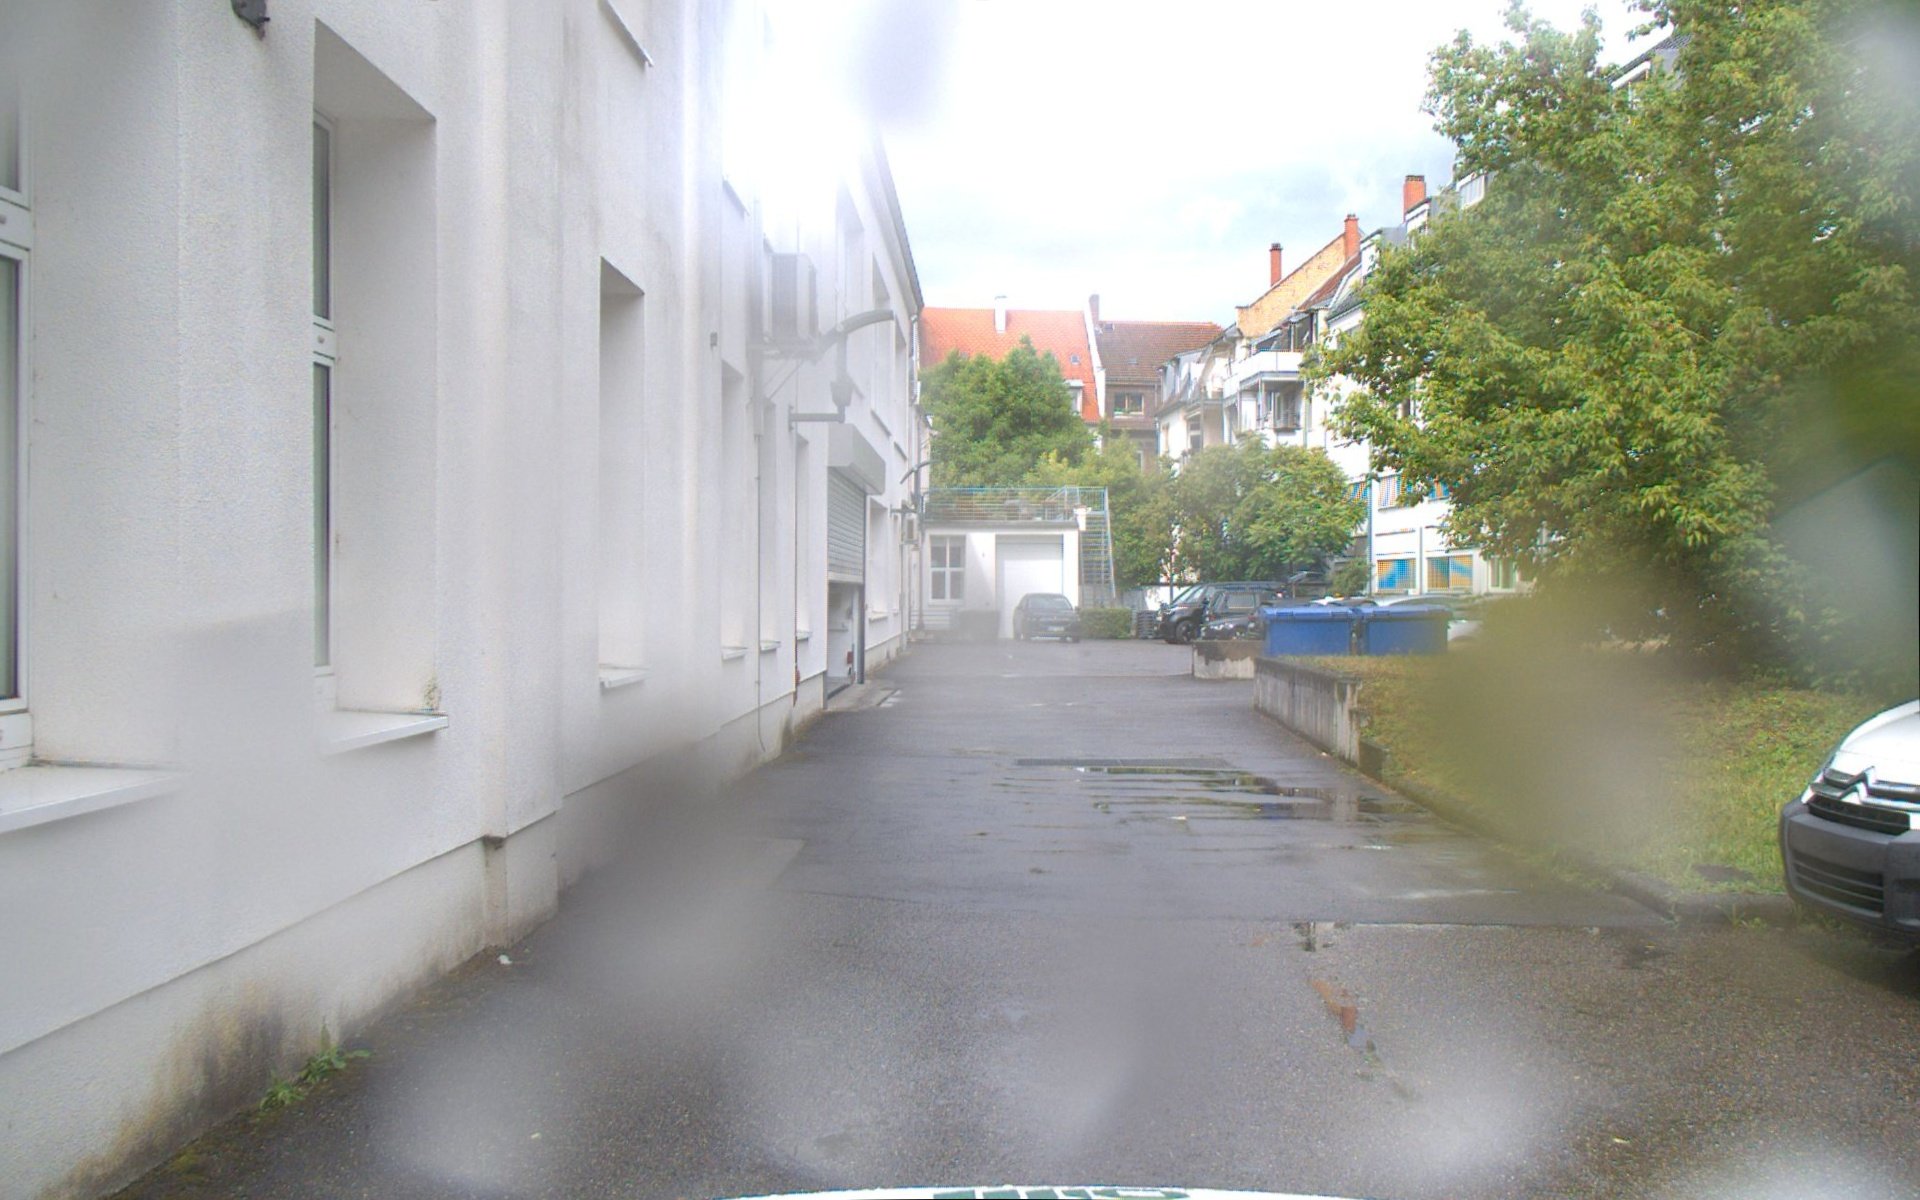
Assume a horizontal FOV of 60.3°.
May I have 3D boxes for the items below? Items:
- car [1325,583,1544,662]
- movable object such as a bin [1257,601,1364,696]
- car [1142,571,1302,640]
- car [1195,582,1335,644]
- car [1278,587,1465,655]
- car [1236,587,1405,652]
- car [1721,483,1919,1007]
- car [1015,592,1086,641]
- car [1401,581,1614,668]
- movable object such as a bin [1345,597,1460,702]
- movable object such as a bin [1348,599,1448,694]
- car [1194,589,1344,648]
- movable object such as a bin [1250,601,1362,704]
[{"bbox_3d":[9.605,0.440,33.681,3.907,1.471,1.806,-2,0,-3],"label":"car"},{"bbox_3d":[5.081,0.690,24.070,1.343,1.327,1.083,-1,0,2],"label":"movable object such as a bin"},{"bbox_3d":[8.324,0.159,52.751,4.550,2.038,2.220,-1,1,-10],"label":"car"},{"bbox_3d":[9.174,0.386,49.927,3.829,1.717,1.817,-1,0,-1],"label":"car"},{"bbox_3d":[9.637,0.474,38.920,3.909,1.484,1.771,-1,0,-5],"label":"car"},{"bbox_3d":[9.167,0.485,42.231,3.834,1.540,1.817,-1,0,-7],"label":"car"},{"bbox_3d":[6.016,0.577,6.848,4.771,1.959,2.100,1,-1,3],"label":"car"},{"bbox_3d":[2.833,0.490,52.435,1.939,1.469,3.999,0,0,-1],"label":"car"},{"bbox_3d":[10.112,0.450,30.719,3.346,1.452,1.687,-2,0,-2],"label":"car"},{"bbox_3d":[5.957,0.648,22.344,1.266,1.360,1.197,-1,0,3],"label":"movable object such as a bin"},{"bbox_3d":[6.356,0.657,24.075,1.161,1.327,1.107,-1,0,1],"label":"movable object such as a bin"},{"bbox_3d":[8.702,0.504,46.751,3.832,1.540,1.750,-1,0,-5],"label":"car"},{"bbox_3d":[4.643,0.696,22.305,1.309,1.314,1.096,-1,1,3],"label":"movable object such as a bin"}]
